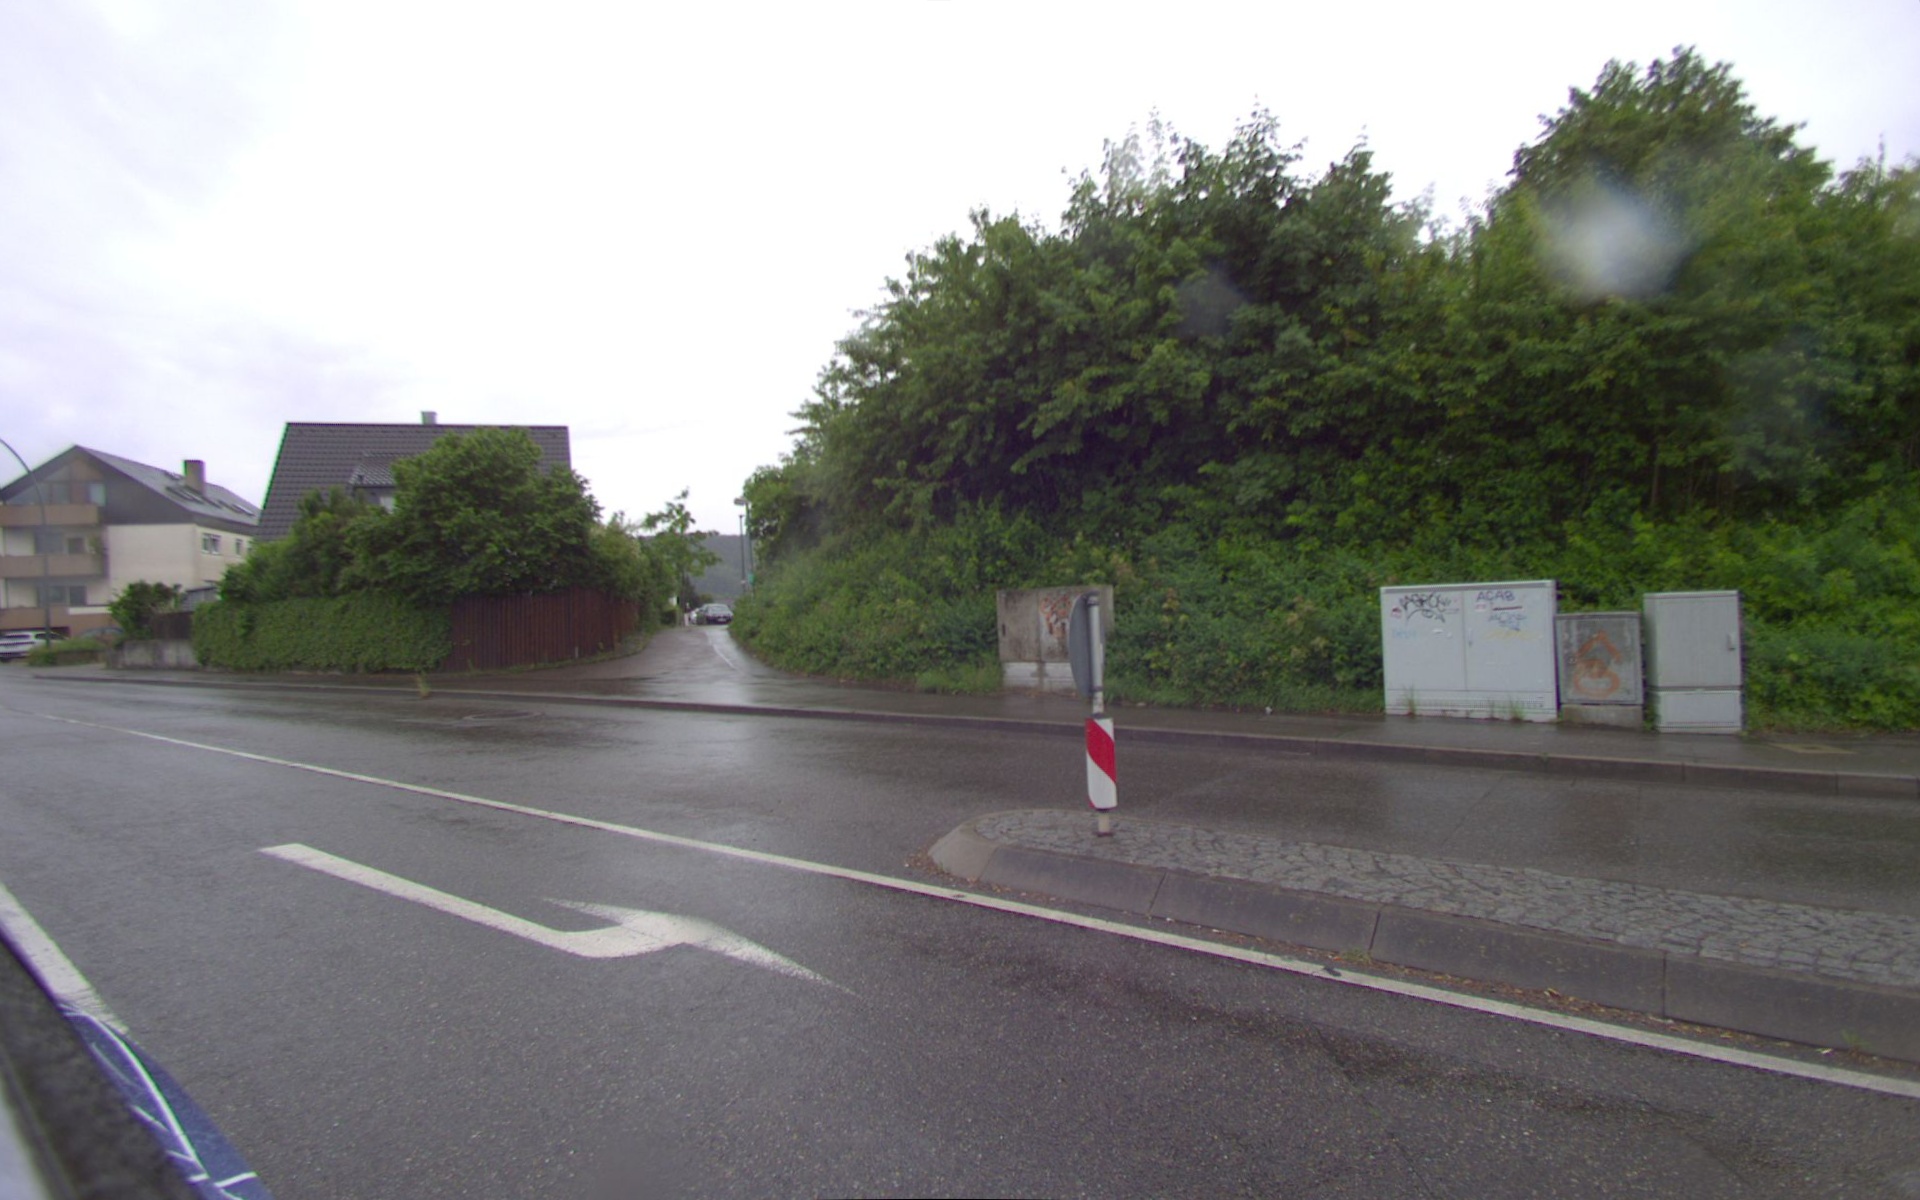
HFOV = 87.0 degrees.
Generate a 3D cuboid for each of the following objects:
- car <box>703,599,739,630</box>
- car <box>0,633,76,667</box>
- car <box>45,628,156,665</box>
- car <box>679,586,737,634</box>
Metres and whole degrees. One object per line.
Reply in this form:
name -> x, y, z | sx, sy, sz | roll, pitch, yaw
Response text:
car -> -15.582, 0.937, 66.171 | 1.968, 1.873, 4.008 | -2, 0, -9
car -> -46.804, 2.499, 51.042 | 1.837, 1.530, 4.012 | -2, 0, -18
car -> -41.146, 2.211, 48.535 | 3.609, 1.530, 1.759 | -2, 0, -15
car -> -9.168, 0.351, 37.050 | 1.683, 1.600, 3.668 | -1, 0, -8
